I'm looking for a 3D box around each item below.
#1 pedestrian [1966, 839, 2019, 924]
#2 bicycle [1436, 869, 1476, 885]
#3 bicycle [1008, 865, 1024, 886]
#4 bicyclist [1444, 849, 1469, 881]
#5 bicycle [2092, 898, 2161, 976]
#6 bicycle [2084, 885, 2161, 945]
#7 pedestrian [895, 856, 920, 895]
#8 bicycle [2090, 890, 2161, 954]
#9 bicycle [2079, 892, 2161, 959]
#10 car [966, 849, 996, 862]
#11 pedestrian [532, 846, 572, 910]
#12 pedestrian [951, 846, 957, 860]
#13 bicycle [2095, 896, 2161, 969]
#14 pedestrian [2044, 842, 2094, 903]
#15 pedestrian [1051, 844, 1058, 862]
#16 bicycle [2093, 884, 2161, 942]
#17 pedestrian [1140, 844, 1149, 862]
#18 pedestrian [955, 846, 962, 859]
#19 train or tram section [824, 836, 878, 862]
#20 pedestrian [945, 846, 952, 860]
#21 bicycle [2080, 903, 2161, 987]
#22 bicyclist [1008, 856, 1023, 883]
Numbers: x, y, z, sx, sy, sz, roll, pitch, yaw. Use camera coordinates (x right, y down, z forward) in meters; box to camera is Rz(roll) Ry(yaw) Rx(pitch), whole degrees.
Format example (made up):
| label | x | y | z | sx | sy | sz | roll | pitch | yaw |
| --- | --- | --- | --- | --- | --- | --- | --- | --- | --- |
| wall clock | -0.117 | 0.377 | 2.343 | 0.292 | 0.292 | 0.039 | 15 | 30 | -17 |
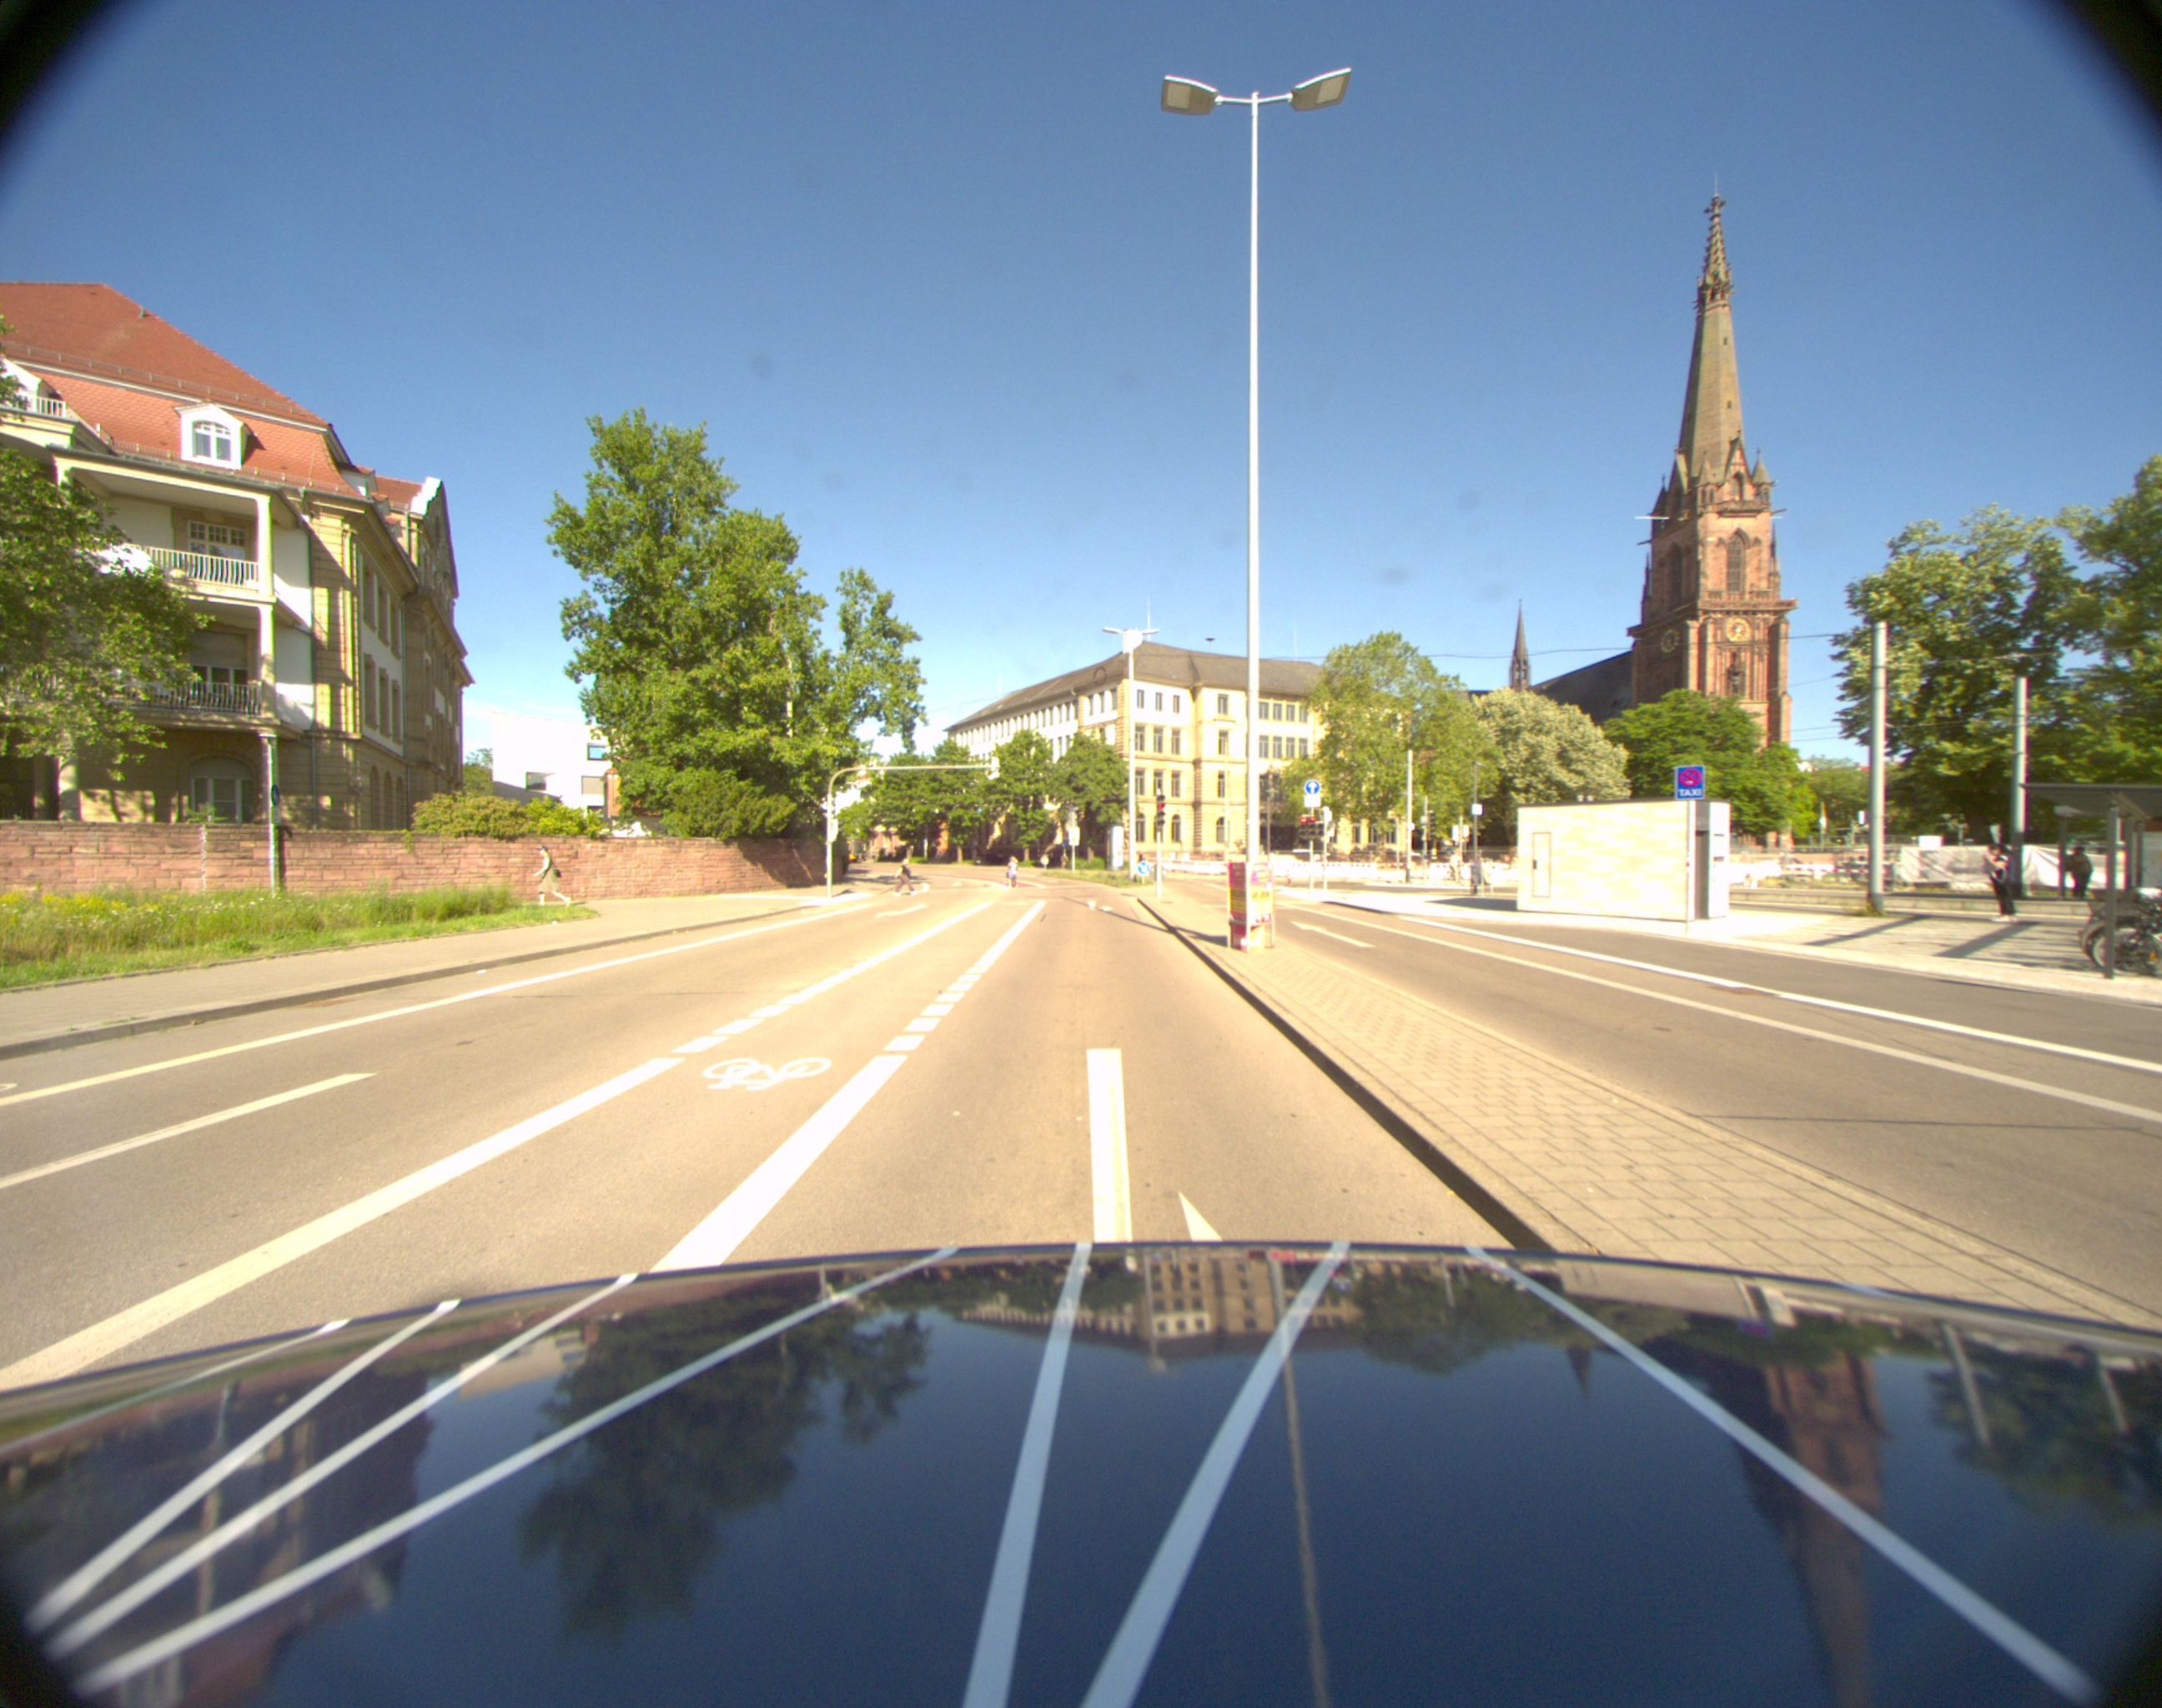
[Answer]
| label | x | y | z | sx | sy | sz | roll | pitch | yaw |
| --- | --- | --- | --- | --- | --- | --- | --- | --- | --- |
| pedestrian | 20.360 | 0.586 | 16.986 | 0.622 | 1.849 | 0.700 | -2 | 2 | -44 |
| bicycle | 18.689 | 1.137 | 37.856 | 2.055 | 0.777 | 0.739 | -1 | 1 | -27 |
| bicycle | -3.414 | 1.122 | 39.657 | 0.741 | 0.989 | 2.305 | -2 | 1 | -6 |
| bicyclist | 18.683 | 0.529 | 37.847 | 0.887 | 1.562 | 0.739 | -1 | 1 | -28 |
| bicycle | 15.035 | 1.168 | 10.211 | 0.407 | 0.993 | 1.678 | -3 | 3 | -33 |
| bicycle | 19.033 | 1.086 | 13.340 | 0.407 | 0.993 | 1.679 | -3 | 2 | -33 |
| pedestrian | -7.557 | 0.934 | 33.114 | 0.931 | 1.657 | 0.630 | 0 | 1 | 3 |
| bicycle | 17.969 | 1.140 | 12.462 | 0.407 | 0.993 | 1.679 | -3 | 2 | -33 |
| bicycle | 17.189 | 1.144 | 12.015 | 0.407 | 0.993 | 1.679 | -3 | 2 | -33 |
| car | -11.941 | 0.142 | 90.519 | 1.839 | 1.587 | 3.989 | -1 | 1 | -37 |
| pedestrian | -15.648 | 0.699 | 22.463 | 0.628 | 1.847 | 0.789 | 1 | 1 | 38 |
| pedestrian | -17.854 | -0.166 | 106.803 | 0.578 | 1.893 | 0.849 | -1 | 1 | -36 |
| bicycle | 16.133 | 1.185 | 11.002 | 0.407 | 0.993 | 1.678 | -3 | 3 | -33 |
| pedestrian | 30.583 | 0.559 | 23.530 | 0.619 | 1.849 | 0.703 | 0 | 1 | 11 |
| pedestrian | -2.940 | -0.124 | 85.180 | 0.557 | 2.002 | 0.645 | -1 | 1 | -37 |
| bicycle | 19.518 | 1.067 | 13.582 | 0.407 | 0.993 | 1.679 | -3 | 2 | -33 |
| pedestrian | 5.943 | -0.100 | 71.212 | 0.540 | 1.710 | 0.545 | -1 | 1 | -37 |
| pedestrian | -17.399 | -0.194 | 107.769 | 0.578 | 1.893 | 0.849 | -1 | 1 | -36 |
| train or tram section | -32.659 | -0.745 | 107.523 | 2.947 | 3.500 | 13.802 | -1 | 1 | -36 |
| pedestrian | -18.542 | -0.134 | 106.371 | 0.578 | 1.893 | 0.781 | -1 | 1 | -36 |
| bicycle | 13.990 | 1.190 | 9.554 | 0.407 | 0.993 | 1.678 | -3 | 3 | -33 |
| bicyclist | -3.430 | 0.819 | 39.639 | 0.741 | 1.363 | 0.626 | -2 | 1 | -6 |
